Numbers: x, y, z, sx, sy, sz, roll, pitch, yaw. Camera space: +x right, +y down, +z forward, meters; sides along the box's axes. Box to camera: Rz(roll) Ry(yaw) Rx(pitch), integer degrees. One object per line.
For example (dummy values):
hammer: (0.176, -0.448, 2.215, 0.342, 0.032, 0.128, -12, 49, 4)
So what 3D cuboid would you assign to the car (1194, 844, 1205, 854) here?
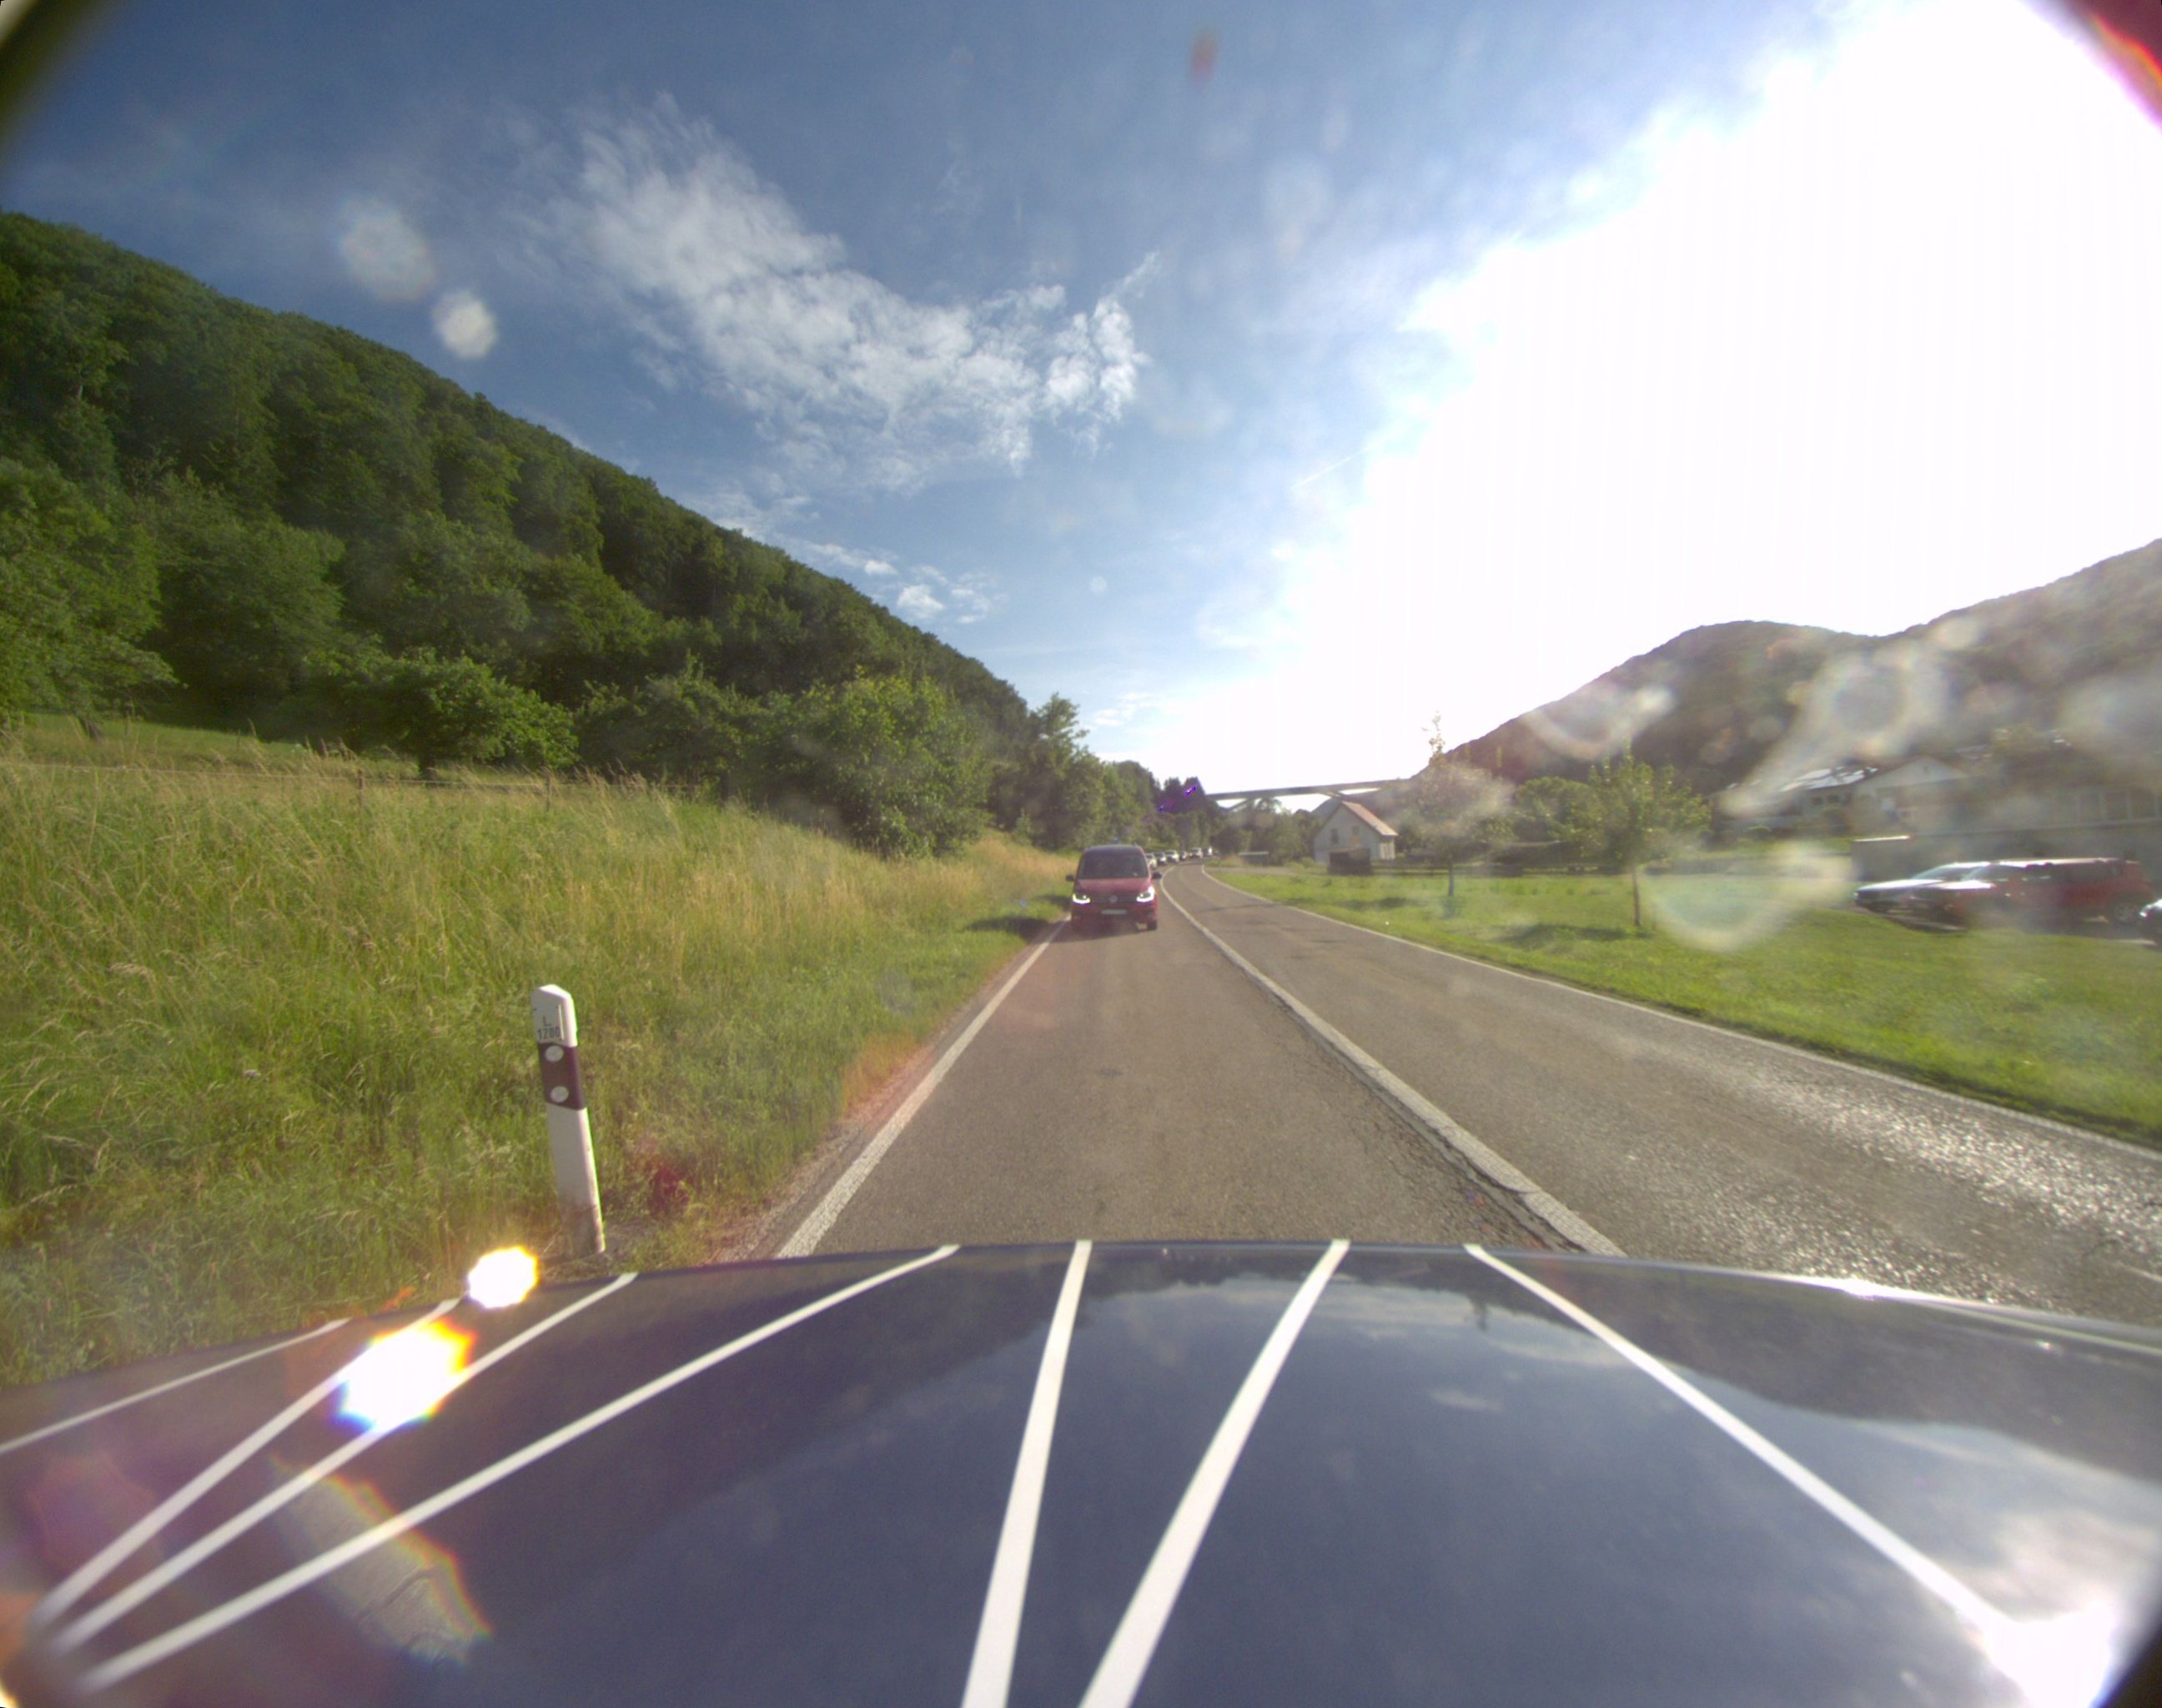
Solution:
car: (19.213, -0.796, 123.722, 1.629, 1.470, 3.681, -2, 1, 7)

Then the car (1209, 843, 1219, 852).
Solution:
car: (24.016, -1.188, 137.152, 1.629, 1.470, 3.682, -2, 1, 11)

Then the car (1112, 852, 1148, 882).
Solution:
car: (2.702, 0.682, 41.232, 1.629, 1.470, 3.681, -2, 1, 8)

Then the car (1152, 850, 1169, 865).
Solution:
car: (8.489, 0.336, 80.944, 1.629, 1.470, 3.680, -2, 1, 4)

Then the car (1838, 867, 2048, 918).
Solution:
car: (26.124, 1.164, 23.201, 3.892, 1.360, 1.854, -1, 1, 13)

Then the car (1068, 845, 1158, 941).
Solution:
car: (0.761, 0.730, 16.437, 1.649, 1.762, 4.001, -2, 1, 4)

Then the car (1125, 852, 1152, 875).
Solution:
car: (4.102, 0.641, 53.981, 1.629, 1.470, 3.681, -2, 1, 8)

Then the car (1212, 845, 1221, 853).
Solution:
car: (26.520, -1.057, 148.901, 1.629, 1.470, 3.682, -2, 1, 11)

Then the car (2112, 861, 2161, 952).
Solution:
car: (24.181, 0.980, 14.839, 5.000, 1.783, 1.686, -2, 1, 10)

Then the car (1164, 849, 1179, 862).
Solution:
car: (10.996, 0.202, 92.706, 1.629, 1.470, 3.680, -2, 1, 4)

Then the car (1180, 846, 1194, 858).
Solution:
car: (14.953, -0.273, 107.295, 1.629, 1.470, 3.682, -2, 1, 11)

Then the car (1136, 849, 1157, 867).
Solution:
car: (5.848, 0.338, 67.250, 1.629, 1.470, 3.681, -2, 1, 8)

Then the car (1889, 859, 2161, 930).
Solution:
car: (24.917, 1.062, 20.213, 4.327, 1.659, 1.850, -2, 1, 17)
